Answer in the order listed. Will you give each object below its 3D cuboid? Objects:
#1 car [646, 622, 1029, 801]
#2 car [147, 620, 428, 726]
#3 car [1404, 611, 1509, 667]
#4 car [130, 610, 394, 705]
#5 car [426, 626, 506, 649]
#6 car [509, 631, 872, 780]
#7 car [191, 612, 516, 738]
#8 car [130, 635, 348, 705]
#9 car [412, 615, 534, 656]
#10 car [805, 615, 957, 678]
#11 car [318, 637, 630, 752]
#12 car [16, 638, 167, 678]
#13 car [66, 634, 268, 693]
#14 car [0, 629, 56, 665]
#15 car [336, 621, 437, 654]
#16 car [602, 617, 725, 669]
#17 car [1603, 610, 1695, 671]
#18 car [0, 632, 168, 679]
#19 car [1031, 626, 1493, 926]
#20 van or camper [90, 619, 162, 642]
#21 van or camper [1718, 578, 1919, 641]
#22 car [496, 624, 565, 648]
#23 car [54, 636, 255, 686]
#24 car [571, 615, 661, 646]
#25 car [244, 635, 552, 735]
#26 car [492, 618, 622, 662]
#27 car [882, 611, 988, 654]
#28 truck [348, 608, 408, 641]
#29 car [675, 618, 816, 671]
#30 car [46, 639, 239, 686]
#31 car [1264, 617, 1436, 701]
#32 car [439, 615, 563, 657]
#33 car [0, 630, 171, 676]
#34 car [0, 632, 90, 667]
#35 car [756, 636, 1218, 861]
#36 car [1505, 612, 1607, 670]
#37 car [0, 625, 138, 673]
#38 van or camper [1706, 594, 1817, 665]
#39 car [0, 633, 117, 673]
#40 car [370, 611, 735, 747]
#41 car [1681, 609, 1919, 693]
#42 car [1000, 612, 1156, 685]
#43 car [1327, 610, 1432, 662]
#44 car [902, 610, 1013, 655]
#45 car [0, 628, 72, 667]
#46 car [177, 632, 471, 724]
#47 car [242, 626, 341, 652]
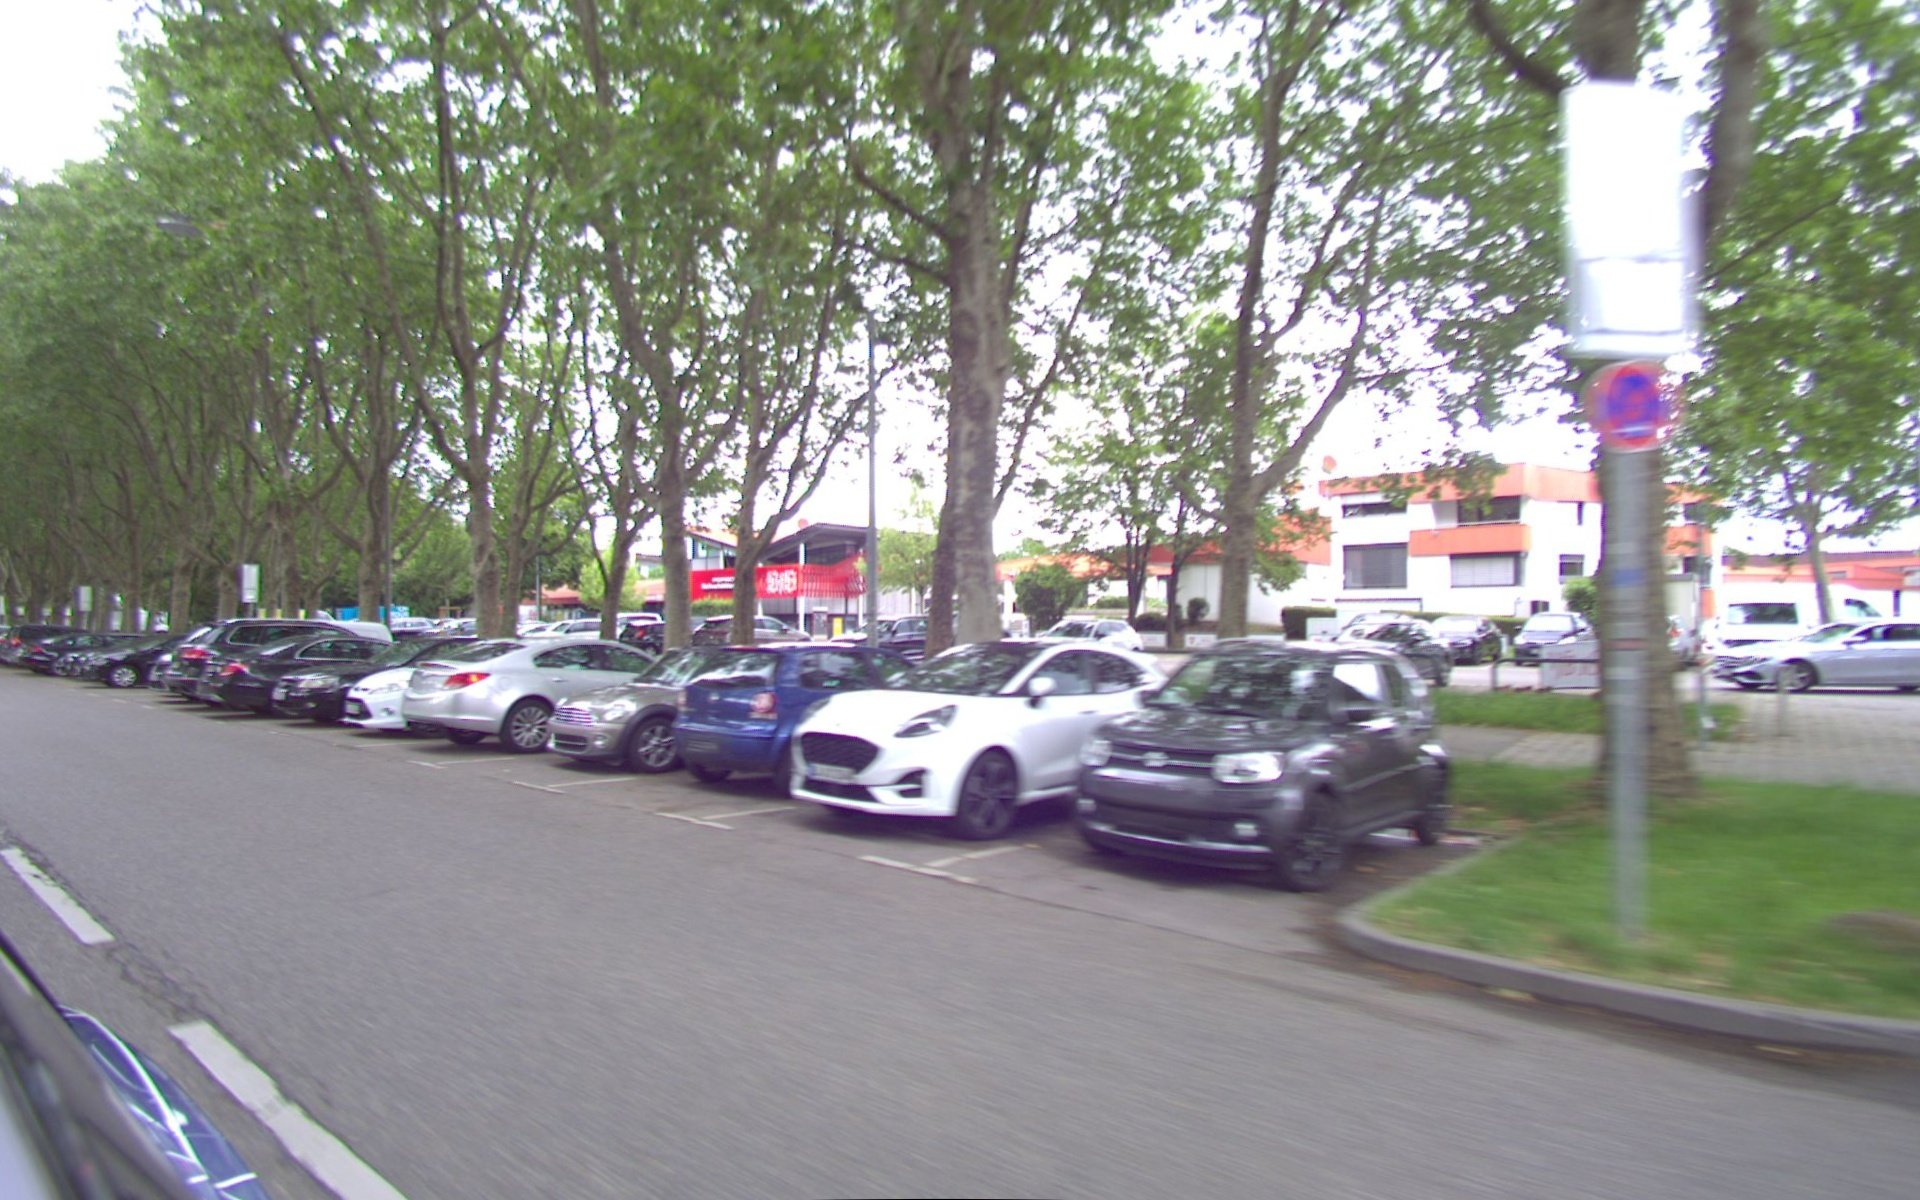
[{"bbox_3d":[-1.154,1.018,10.950,1.831,1.505,3.953,-1,-1,40],"label":"car"},{"bbox_3d":[-13.197,1.324,20.061,2.035,1.808,4.273,-1,-1,40],"label":"car"},{"bbox_3d":[15.246,1.146,30.944,1.957,1.560,4.278,-1,-1,39],"label":"car"},{"bbox_3d":[-14.952,1.241,21.904,1.864,1.824,4.278,-2,-4,36],"label":"car"},{"bbox_3d":[-36.553,2.764,74.947,2.181,1.532,4.893,-1,-1,39],"label":"car"},{"bbox_3d":[-3.119,1.130,12.333,1.860,1.416,3.946,-1,-1,40],"label":"car"},{"bbox_3d":[-9.998,1.213,16.967,1.866,1.824,4.273,-2,-4,40],"label":"car"},{"bbox_3d":[-16.849,1.618,23.825,1.757,1.483,3.756,-1,-4,29],"label":"car"},{"bbox_3d":[-23.492,1.666,48.993,2.180,1.810,4.894,-1,-1,38],"label":"car"},{"bbox_3d":[-2.395,1.387,31.680,2.294,1.775,4.473,-1,-1,39],"label":"car"},{"bbox_3d":[-7.358,1.342,15.617,1.883,1.415,3.948,-1,-1,39],"label":"car"},{"bbox_3d":[-31.595,2.100,36.904,1.825,1.375,3.892,-2,-4,39],"label":"car"},{"bbox_3d":[-20.869,1.689,26.746,1.756,1.432,3.934,-2,-5,43],"label":"car"},{"bbox_3d":[-47.211,2.314,49.729,1.855,1.695,3.945,-1,-1,41],"label":"car"},{"bbox_3d":[-32.225,2.127,57.007,1.997,1.734,4.508,-1,-4,38],"label":"car"},{"bbox_3d":[-11.571,1.641,39.732,2.026,1.875,4.278,-1,-1,39],"label":"car"},{"bbox_3d":[19.186,1.067,28.115,1.788,1.560,4.176,-1,-1,39],"label":"car"},{"bbox_3d":[-28.288,1.785,32.719,1.701,1.409,3.892,-2,-4,39],"label":"car"},{"bbox_3d":[2.451,1.002,7.560,1.804,1.552,3.951,-1,-1,42],"label":"car"},{"bbox_3d":[-83.650,3.035,101.599,2.241,2.115,5.235,-1,-1,38],"label":"van or camper"},{"bbox_3d":[29.828,0.345,35.305,5.298,2.029,1.973,-1,-1,40],"label":"van or camper"},{"bbox_3d":[-29.589,2.448,69.798,1.996,1.562,3.983,-1,-1,36],"label":"car"},{"bbox_3d":[-23.967,1.810,30.248,1.901,1.358,4.415,-2,-4,42],"label":"car"},{"bbox_3d":[-21.025,1.834,62.050,2.180,1.810,4.894,-1,-1,38],"label":"car"},{"bbox_3d":[-9.341,1.328,17.108,1.965,1.364,4.149,-1,-1,38],"label":"car"},{"bbox_3d":[-17.474,1.721,44.099,2.180,1.810,4.894,-2,-2,38],"label":"car"},{"bbox_3d":[-1.125,1.456,46.447,4.526,1.869,2.298,0,-1,-45],"label":"car"},{"bbox_3d":[-50.757,2.102,88.297,2.374,2.737,3.948,-1,-1,39],"label":"truck"},{"bbox_3d":[-7.615,1.528,36.267,2.294,1.739,4.506,-1,-1,39],"label":"car"},{"bbox_3d":[-25.781,1.979,32.049,1.857,1.377,4.419,-2,-4,39],"label":"car"},{"bbox_3d":[8.380,1.152,21.533,2.201,1.560,4.278,-1,-1,39],"label":"car"},{"bbox_3d":[-21.496,1.634,47.589,2.180,1.810,4.894,-1,-1,38],"label":"car"},{"bbox_3d":[-30.133,1.828,34.815,1.701,1.493,4.419,-2,-4,39],"label":"car"},{"bbox_3d":[-39.566,2.077,42.785,1.701,1.431,3.954,-2,-4,39],"label":"car"},{"bbox_3d":[0.412,1.068,8.880,1.912,1.395,3.949,-1,-1,44],"label":"car"},{"bbox_3d":[17.596,1.151,29.808,1.957,1.560,4.278,-1,-1,39],"label":"car"},{"bbox_3d":[-33.949,1.857,38.446,1.750,1.721,3.892,-2,-4,39],"label":"car"},{"bbox_3d":[21.266,0.734,26.859,2.130,1.722,4.278,-1,-1,39],"label":"van or camper"},{"bbox_3d":[-35.883,2.089,39.831,1.728,1.528,3.889,-2,-4,41],"label":"car"},{"bbox_3d":[-5.395,1.044,13.888,1.906,1.560,4.222,-1,-4,38],"label":"car"},{"bbox_3d":[17.639,0.982,20.083,4.928,1.564,2.091,-1,-1,13],"label":"car"},{"bbox_3d":[3.176,1.202,26.651,2.130,1.722,4.278,-1,-1,39],"label":"car"},{"bbox_3d":[13.531,1.105,32.514,1.957,1.560,4.278,-1,-1,39],"label":"car"},{"bbox_3d":[-0.075,1.371,44.171,4.526,1.869,2.298,0,-1,-45],"label":"car"},{"bbox_3d":[-43.541,2.192,46.506,1.855,1.695,3.945,-1,-1,41],"label":"car"},{"bbox_3d":[-11.429,1.406,18.388,2.013,1.463,4.084,-2,-5,42],"label":"car"},{"bbox_3d":[-45.333,2.596,68.728,2.093,1.608,5.296,-1,-1,39],"label":"car"}]
